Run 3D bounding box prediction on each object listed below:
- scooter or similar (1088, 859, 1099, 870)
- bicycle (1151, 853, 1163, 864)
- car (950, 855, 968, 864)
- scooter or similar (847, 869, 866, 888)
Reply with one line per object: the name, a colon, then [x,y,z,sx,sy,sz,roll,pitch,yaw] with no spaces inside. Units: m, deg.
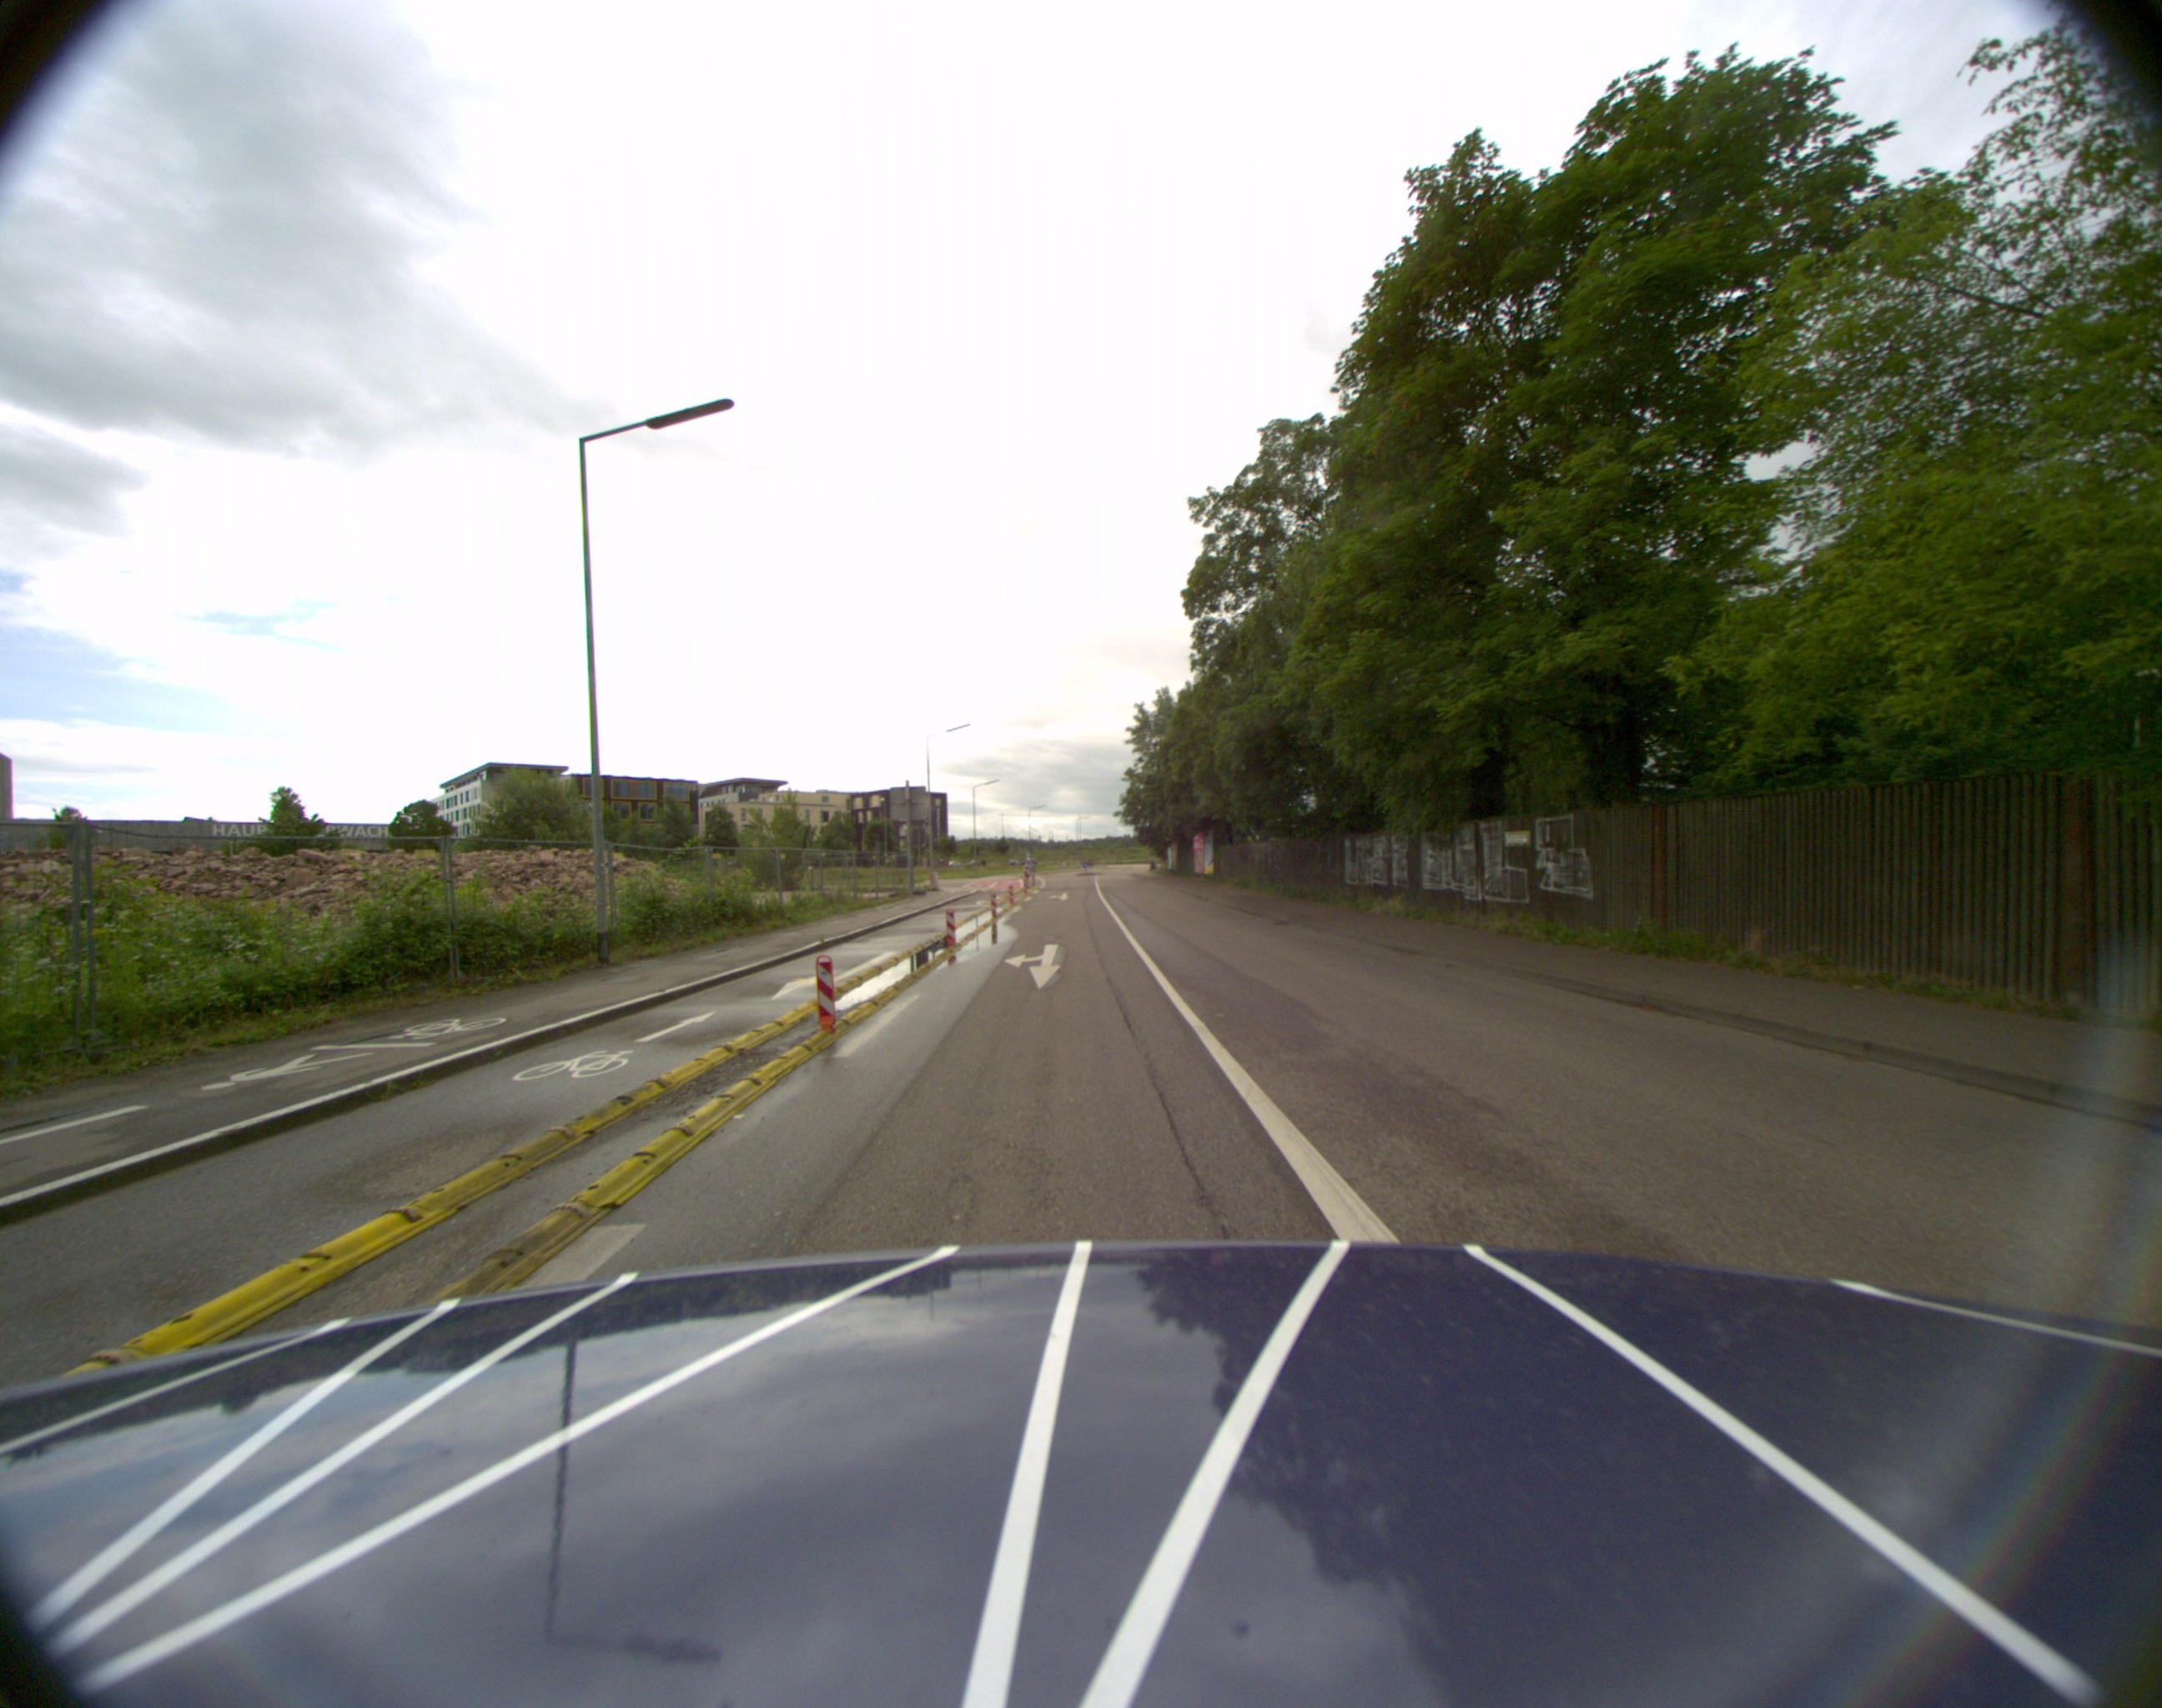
scooter or similar: [1.432,1.199,87.722,1.171,1.178,0.447,-1,0,25]
bicycle: [7.848,0.462,78.491,0.583,0.992,1.773,-4,0,27]
car: [-28.786,1.258,179.304,1.994,2.002,4.008,-1,0,41]
scooter or similar: [-14.235,1.557,48.204,1.323,1.178,0.447,-1,0,40]
